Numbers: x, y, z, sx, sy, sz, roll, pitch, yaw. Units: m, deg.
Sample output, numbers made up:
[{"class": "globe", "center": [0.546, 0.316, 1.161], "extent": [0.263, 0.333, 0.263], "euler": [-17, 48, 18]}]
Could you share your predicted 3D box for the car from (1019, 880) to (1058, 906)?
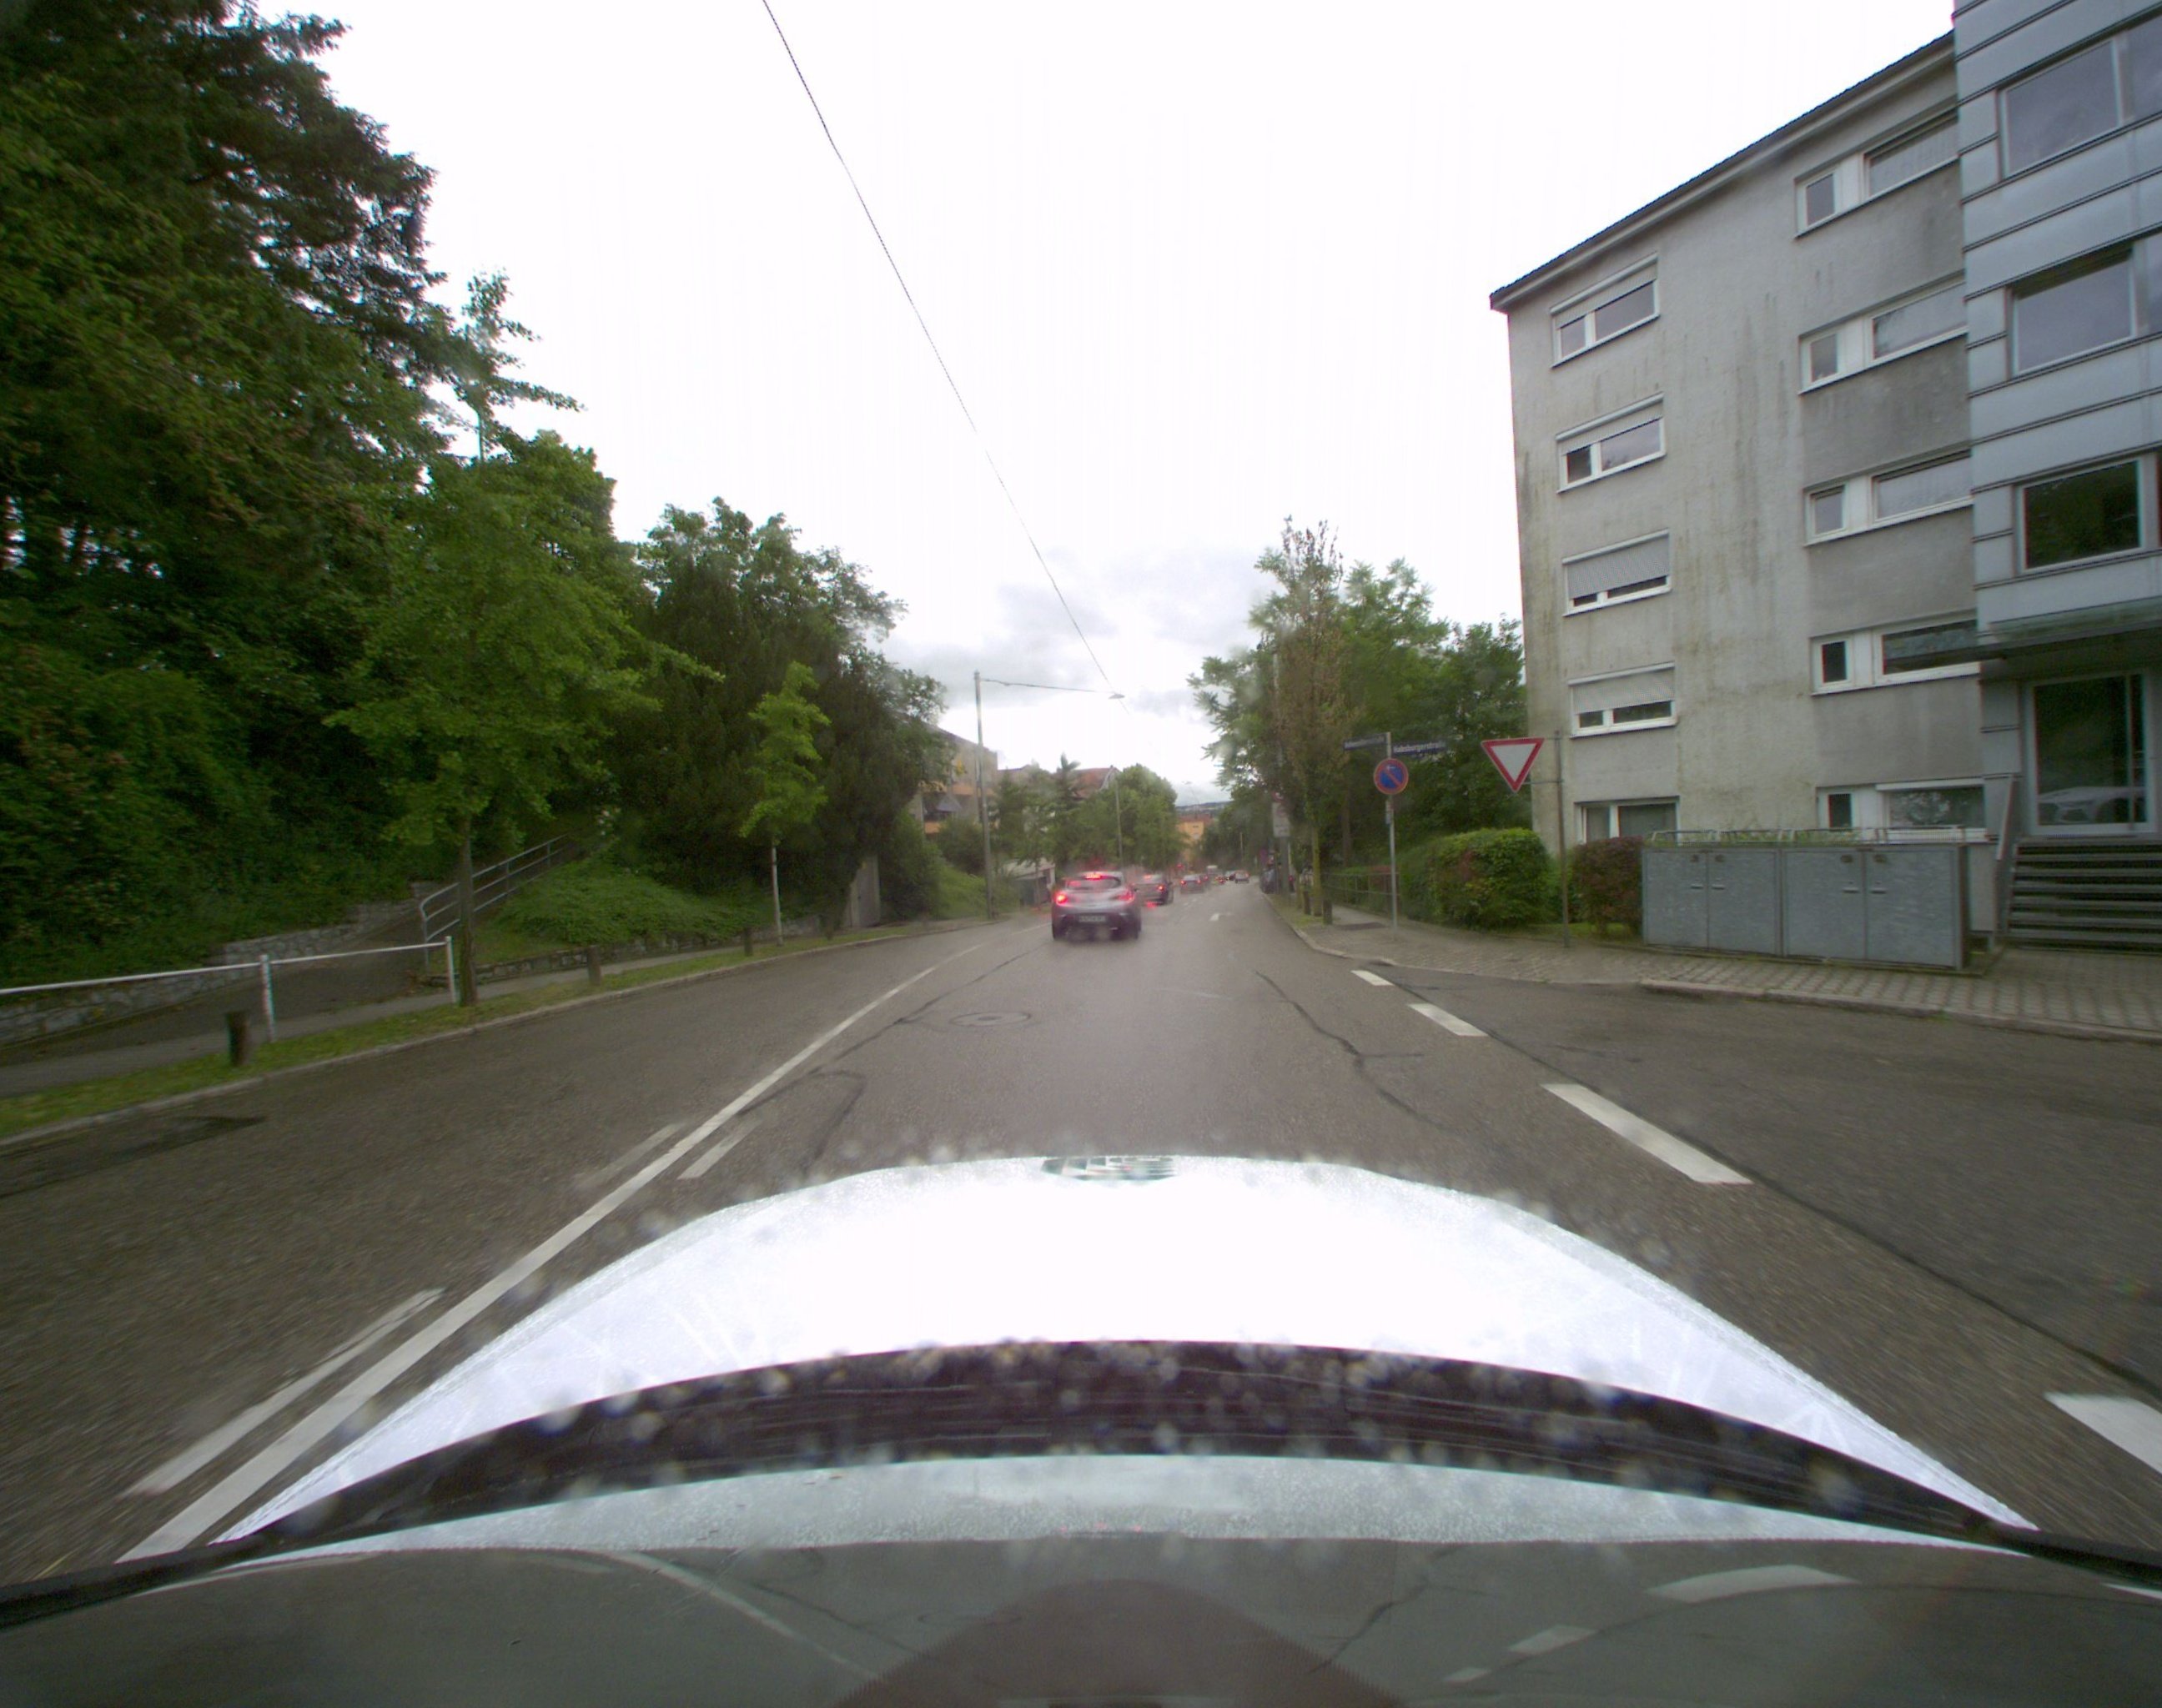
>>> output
[{"class": "car", "center": [-2.825, 2.603, 55.196], "extent": [1.731, 1.456, 3.894], "euler": [-7, -2, 9]}]

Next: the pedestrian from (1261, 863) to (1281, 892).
[{"class": "pedestrian", "center": [11.770, 1.438, 50.487], "extent": [0.736, 1.723, 0.761], "euler": [-5, -2, -14]}]

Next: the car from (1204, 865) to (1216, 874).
[{"class": "car", "center": [24.989, 3.021, 157.472], "extent": [1.980, 1.784, 4.013], "euler": [-1, 0, 12]}]

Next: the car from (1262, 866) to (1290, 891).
[{"class": "car", "center": [12.573, 1.589, 52.639], "extent": [1.494, 1.435, 4.011], "euler": [-5, -2, 10]}]

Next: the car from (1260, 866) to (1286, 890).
[{"class": "car", "center": [13.719, 1.690, 58.299], "extent": [1.670, 1.464, 4.014], "euler": [-5, -1, 12]}]

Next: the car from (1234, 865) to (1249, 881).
[{"class": "car", "center": [22.117, 2.584, 112.039], "extent": [1.980, 2.036, 4.750], "euler": [-1, 0, 12]}]

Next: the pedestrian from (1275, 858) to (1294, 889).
[{"class": "pedestrian", "center": [12.520, 1.222, 50.189], "extent": [0.669, 1.836, 0.680], "euler": [-4, -2, -43]}]

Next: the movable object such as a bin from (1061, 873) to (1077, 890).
[{"class": "movable object such as a bin", "center": [-0.997, 2.280, 67.845], "extent": [1.264, 1.387, 0.490], "euler": [-2, -1, 9]}]

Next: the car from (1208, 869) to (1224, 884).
[{"class": "car", "center": [15.516, 2.579, 93.550], "extent": [1.743, 1.651, 4.010], "euler": [-1, -1, 10]}]

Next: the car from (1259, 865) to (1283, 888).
[{"class": "car", "center": [14.656, 1.708, 62.910], "extent": [1.674, 1.571, 4.014], "euler": [-5, -1, 12]}]

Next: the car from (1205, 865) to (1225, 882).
[{"class": "car", "center": [17.173, 2.479, 104.173], "extent": [2.318, 2.036, 4.750], "euler": [-1, 0, 12]}]

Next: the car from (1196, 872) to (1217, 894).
[{"class": "car", "center": [11.291, 2.585, 72.899], "extent": [1.758, 1.781, 3.987], "euler": [-1, 0, 10]}]

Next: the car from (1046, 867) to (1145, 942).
[{"class": "car", "center": [0.437, 1.079, 18.604], "extent": [1.936, 1.432, 3.888], "euler": [-3, -2, 4]}]

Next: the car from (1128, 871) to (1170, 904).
[{"class": "car", "center": [3.208, 1.526, 37.829], "extent": [1.788, 1.323, 4.007], "euler": [-2, -1, 6]}]

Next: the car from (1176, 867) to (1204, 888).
[{"class": "car", "center": [8.279, 1.774, 61.578], "extent": [1.949, 1.472, 3.961], "euler": [-1, 0, 10]}]
